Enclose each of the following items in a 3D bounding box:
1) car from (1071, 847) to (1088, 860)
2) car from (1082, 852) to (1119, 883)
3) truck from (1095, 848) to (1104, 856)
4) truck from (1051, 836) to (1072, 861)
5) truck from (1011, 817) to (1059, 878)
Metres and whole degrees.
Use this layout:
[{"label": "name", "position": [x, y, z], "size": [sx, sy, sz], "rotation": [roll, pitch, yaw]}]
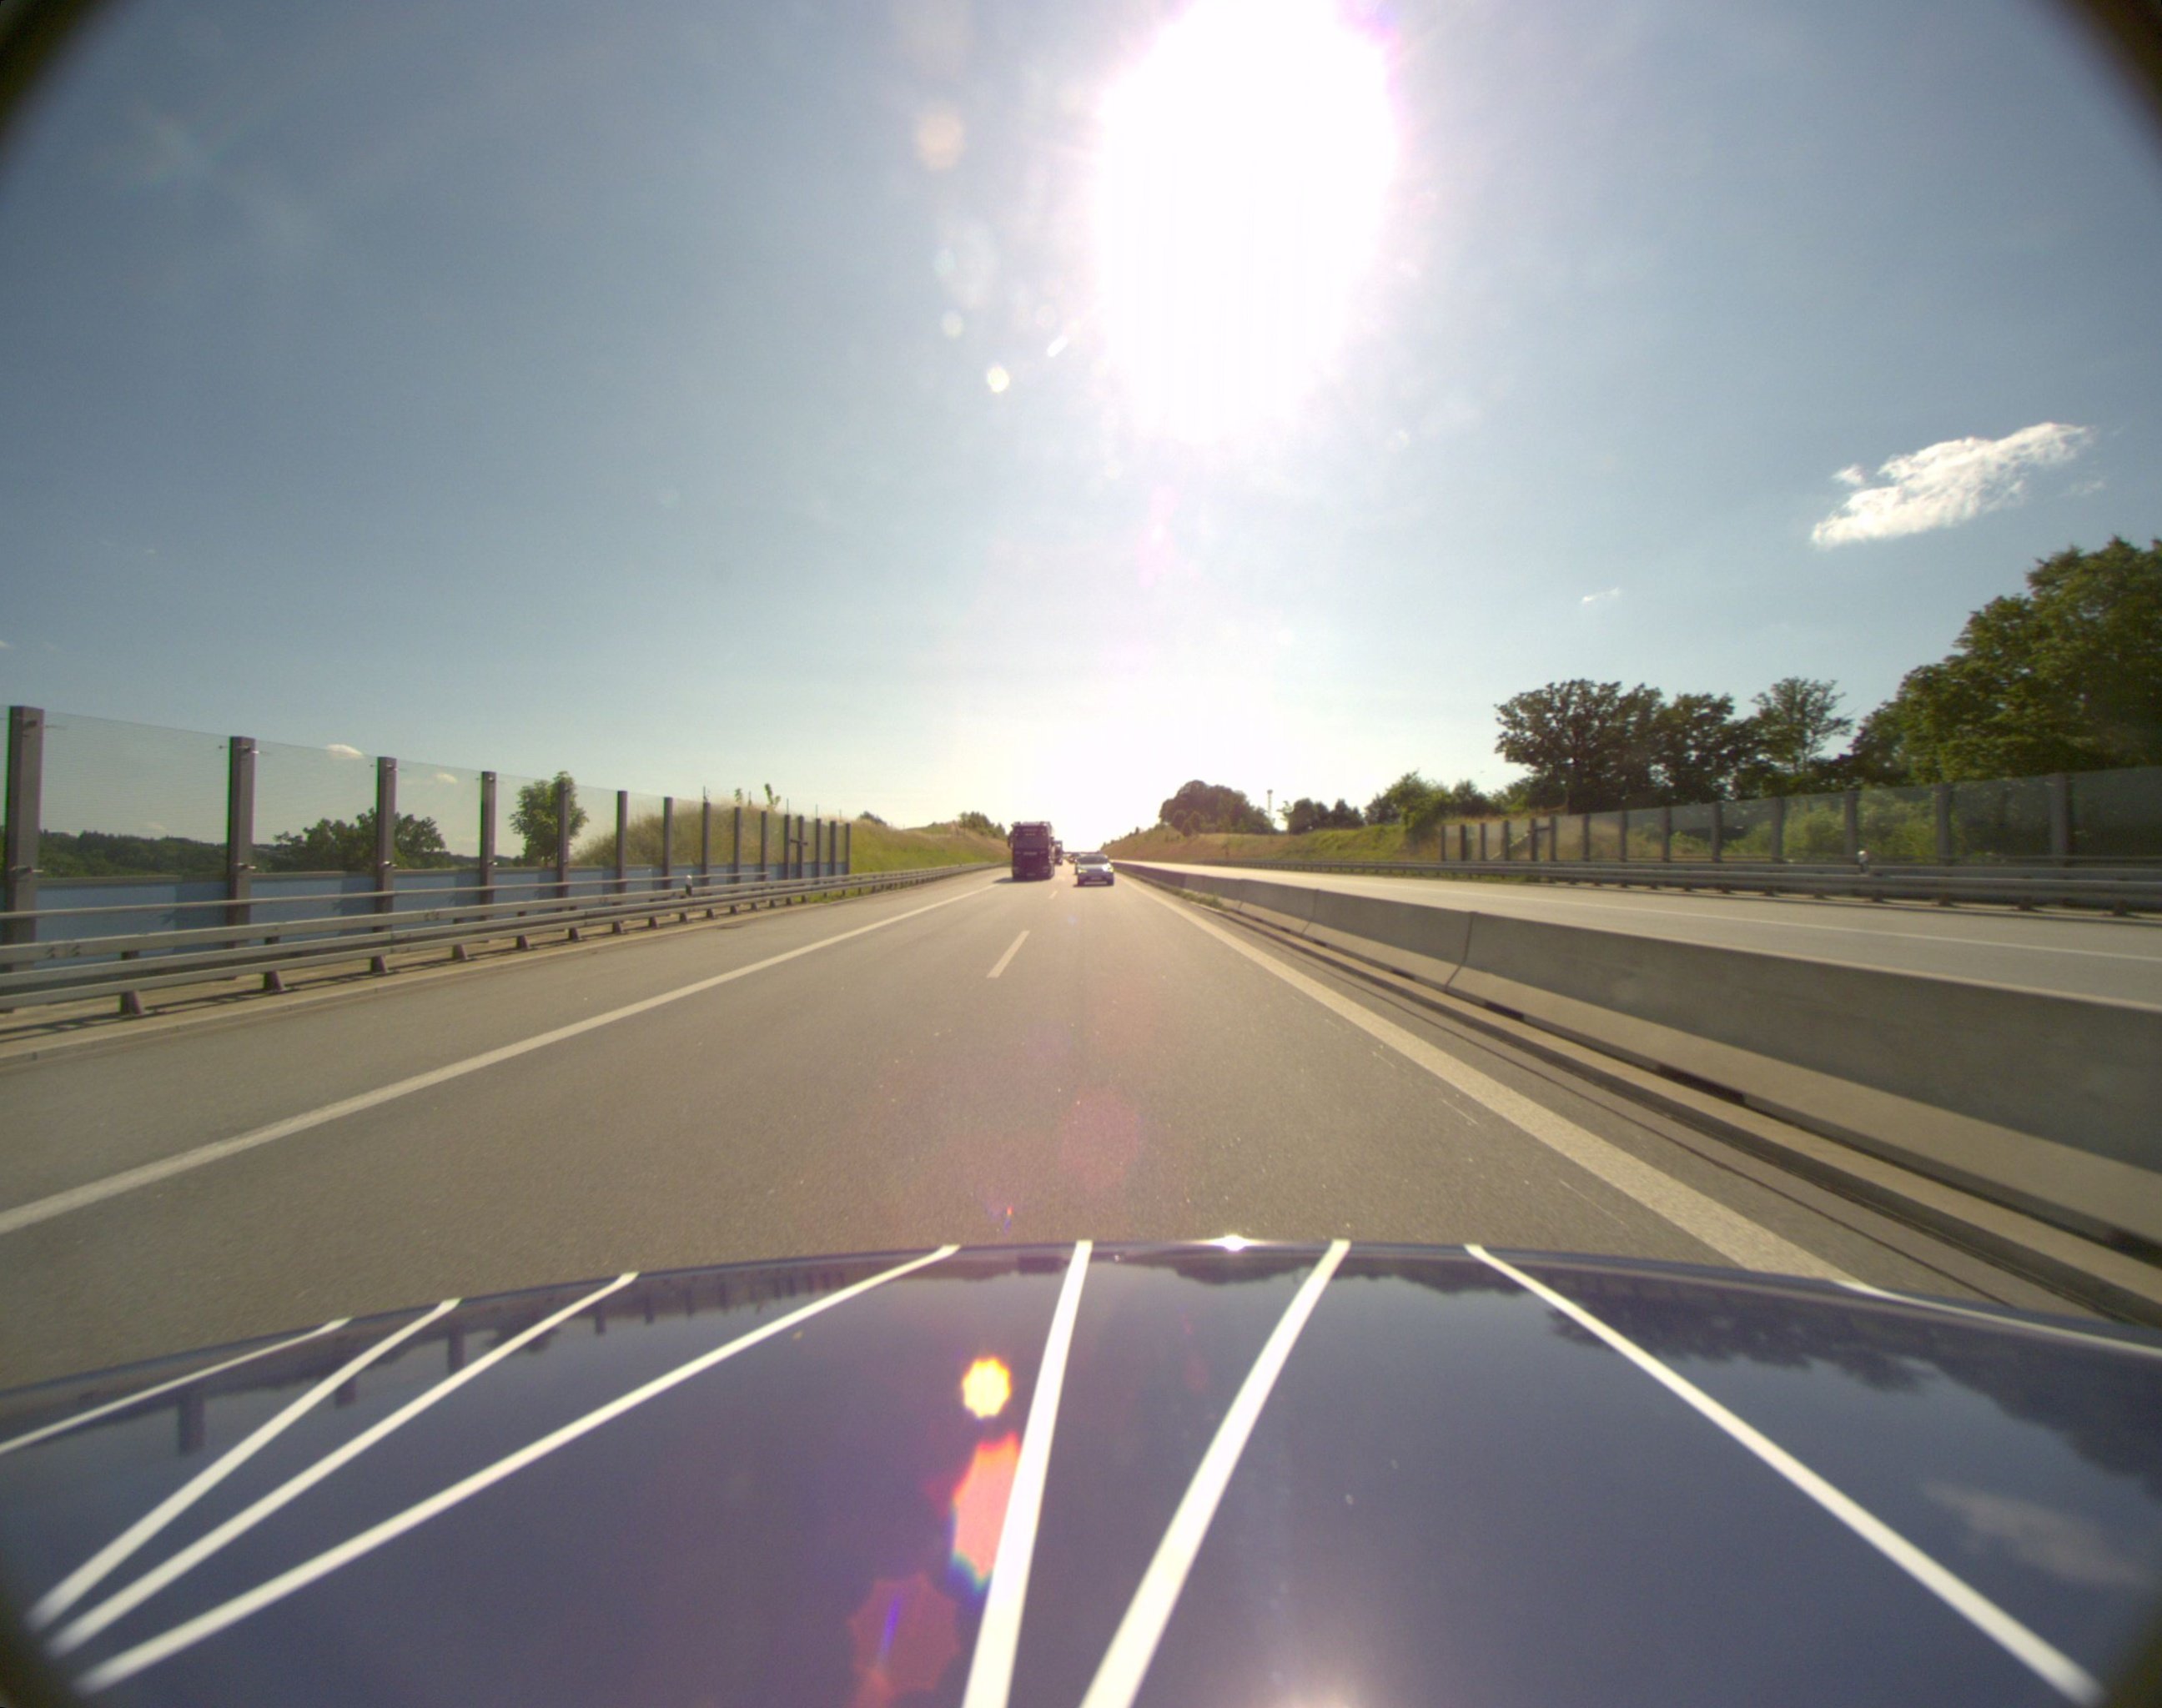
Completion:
[{"label": "car", "position": [-0.276, -0.054, 132.269], "size": [2.816, 2.143, 5.945], "rotation": [1, 0, -2]}, {"label": "car", "position": [0.988, 0.671, 38.981], "size": [1.795, 1.501, 3.635], "rotation": [0, 0, 2]}, {"label": "truck", "position": [6.435, -0.689, 263.992], "size": [2.781, 3.004, 6.791], "rotation": [-1, 0, -1]}, {"label": "truck", "position": [-3.328, -0.913, 124.675], "size": [3.026, 3.795, 13.398], "rotation": [1, 0, -3]}, {"label": "truck", "position": [-3.064, -0.448, 54.528], "size": [2.623, 3.795, 13.402], "rotation": [-1, 0, 0]}]
